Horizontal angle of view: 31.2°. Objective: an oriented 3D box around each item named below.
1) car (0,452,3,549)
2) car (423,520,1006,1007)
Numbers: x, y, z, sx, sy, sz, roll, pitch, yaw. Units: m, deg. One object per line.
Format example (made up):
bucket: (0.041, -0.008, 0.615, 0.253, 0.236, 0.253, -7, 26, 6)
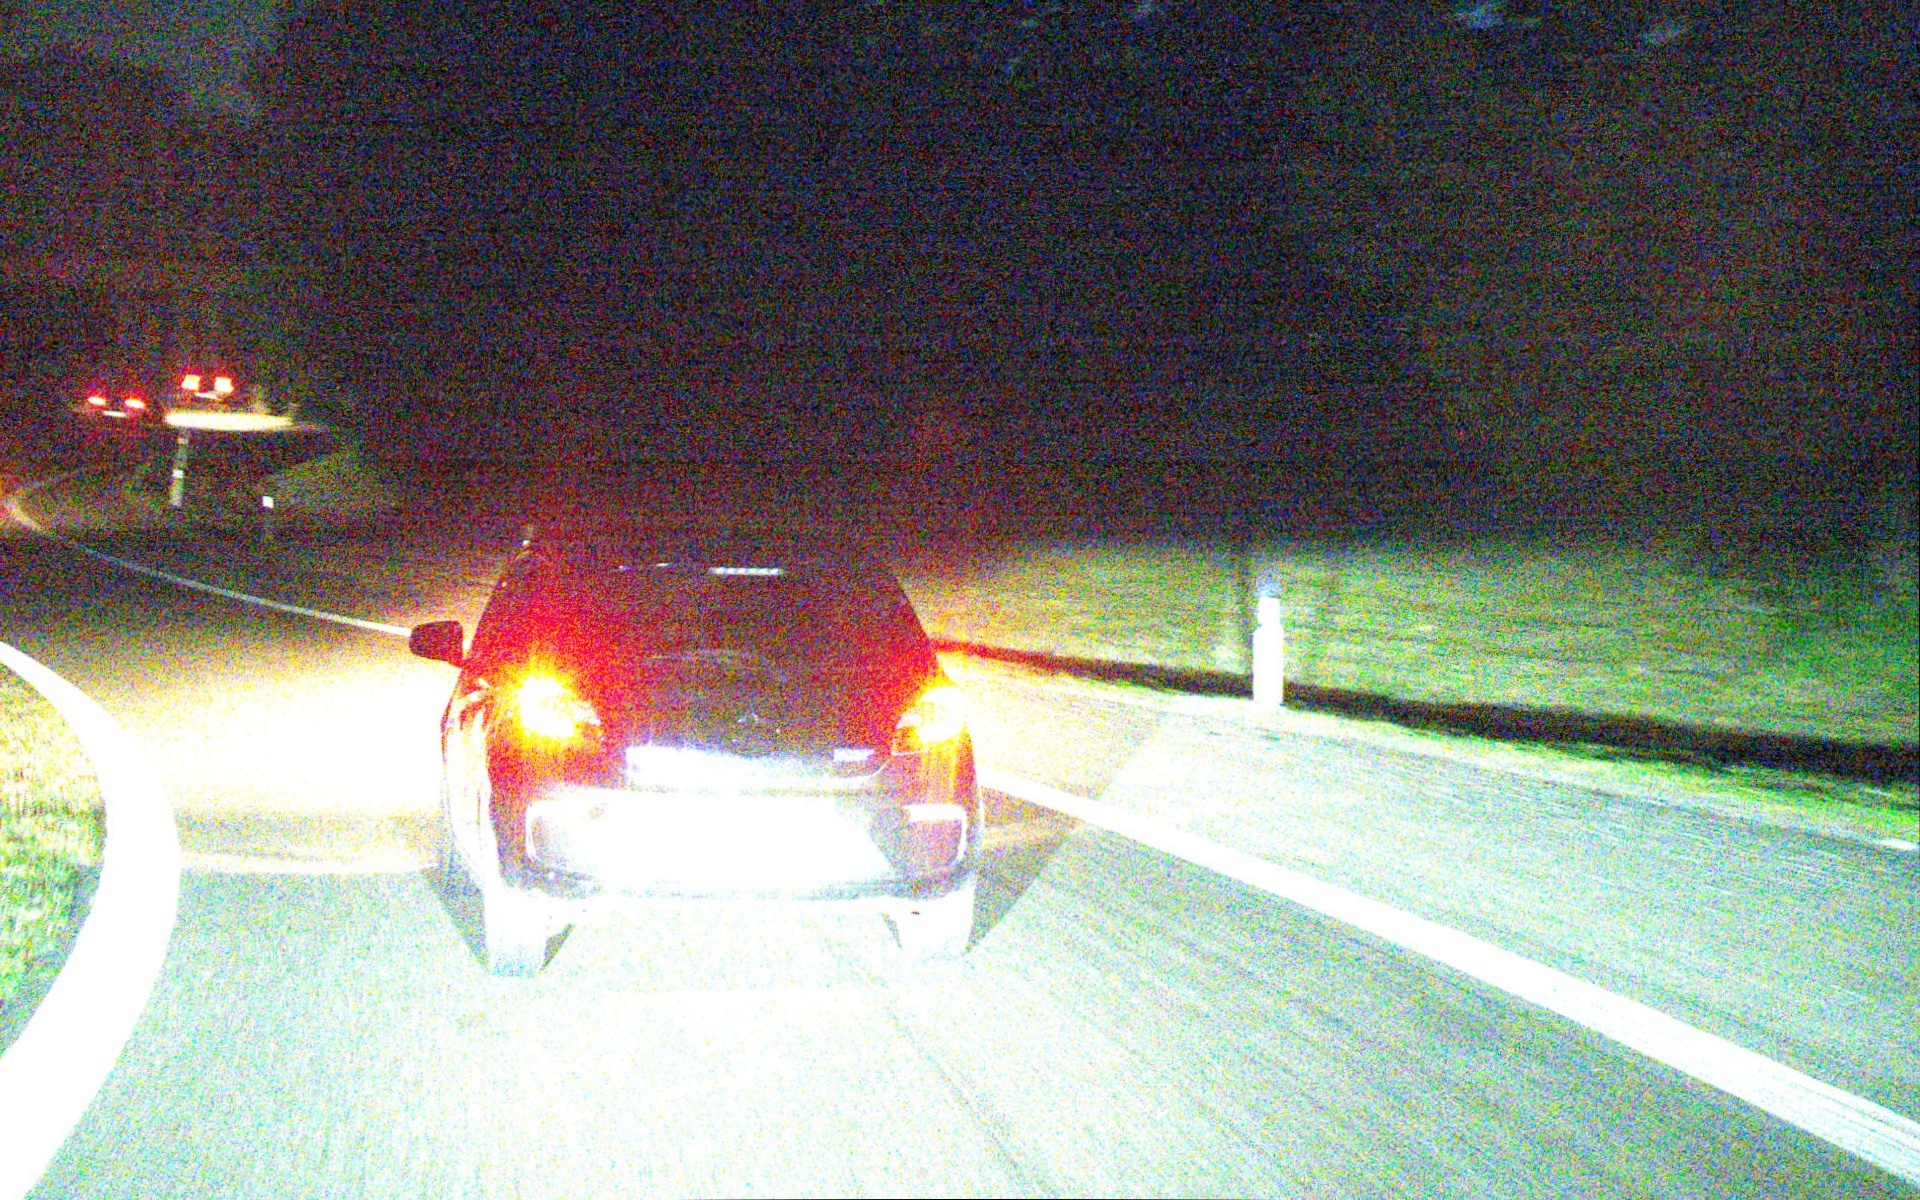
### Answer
car: (-16.816, -1.646, 55.854, 1.951, 1.532, 4.243, -1, 3, -22)
car: (-1.052, 0.450, 12.599, 1.691, 1.472, 4.001, 0, 1, -10)
